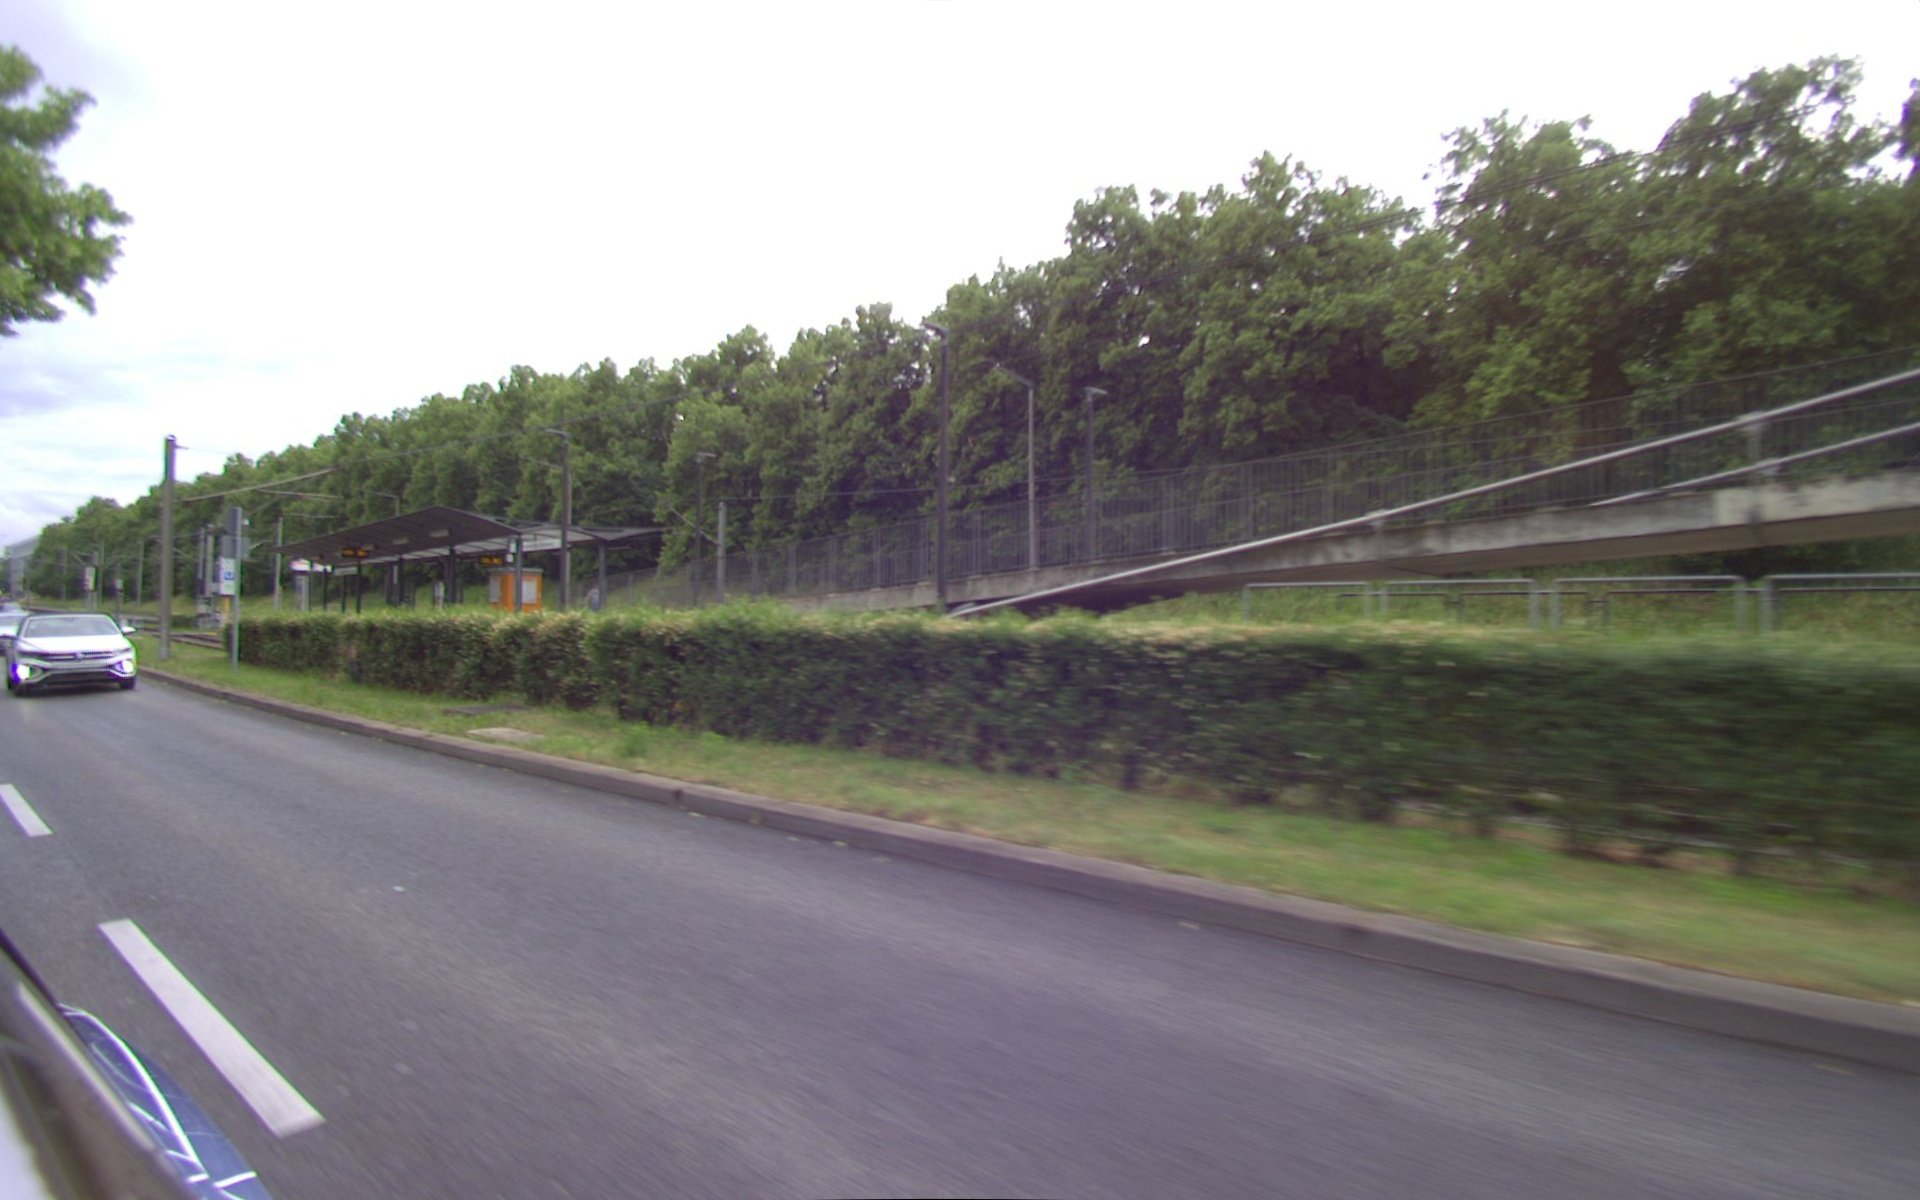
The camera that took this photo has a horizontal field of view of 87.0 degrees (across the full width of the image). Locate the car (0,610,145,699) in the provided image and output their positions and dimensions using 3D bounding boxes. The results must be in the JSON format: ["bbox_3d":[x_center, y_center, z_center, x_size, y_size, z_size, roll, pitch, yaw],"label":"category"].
[{"bbox_3d":[-17.733,0.983,20.101,1.933,1.476,4.702,-2,1,-44],"label":"car"}]

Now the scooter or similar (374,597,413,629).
[{"bbox_3d":[-22.063,0.503,39.421,1.282,1.227,0.380,0,1,0],"label":"scooter or similar"}]

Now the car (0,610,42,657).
[{"bbox_3d":[-33.482,1.144,35.324,1.933,1.492,4.702,-2,1,-44],"label":"car"}]

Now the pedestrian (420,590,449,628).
[{"bbox_3d":[-19.206,0.336,37.011,0.692,1.366,0.744,-1,-1,43],"label":"pedestrian"}]

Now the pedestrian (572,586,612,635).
[{"bbox_3d":[-12.309,0.349,33.890,0.924,1.623,1.028,1,-1,-43],"label":"pedestrian"}]
